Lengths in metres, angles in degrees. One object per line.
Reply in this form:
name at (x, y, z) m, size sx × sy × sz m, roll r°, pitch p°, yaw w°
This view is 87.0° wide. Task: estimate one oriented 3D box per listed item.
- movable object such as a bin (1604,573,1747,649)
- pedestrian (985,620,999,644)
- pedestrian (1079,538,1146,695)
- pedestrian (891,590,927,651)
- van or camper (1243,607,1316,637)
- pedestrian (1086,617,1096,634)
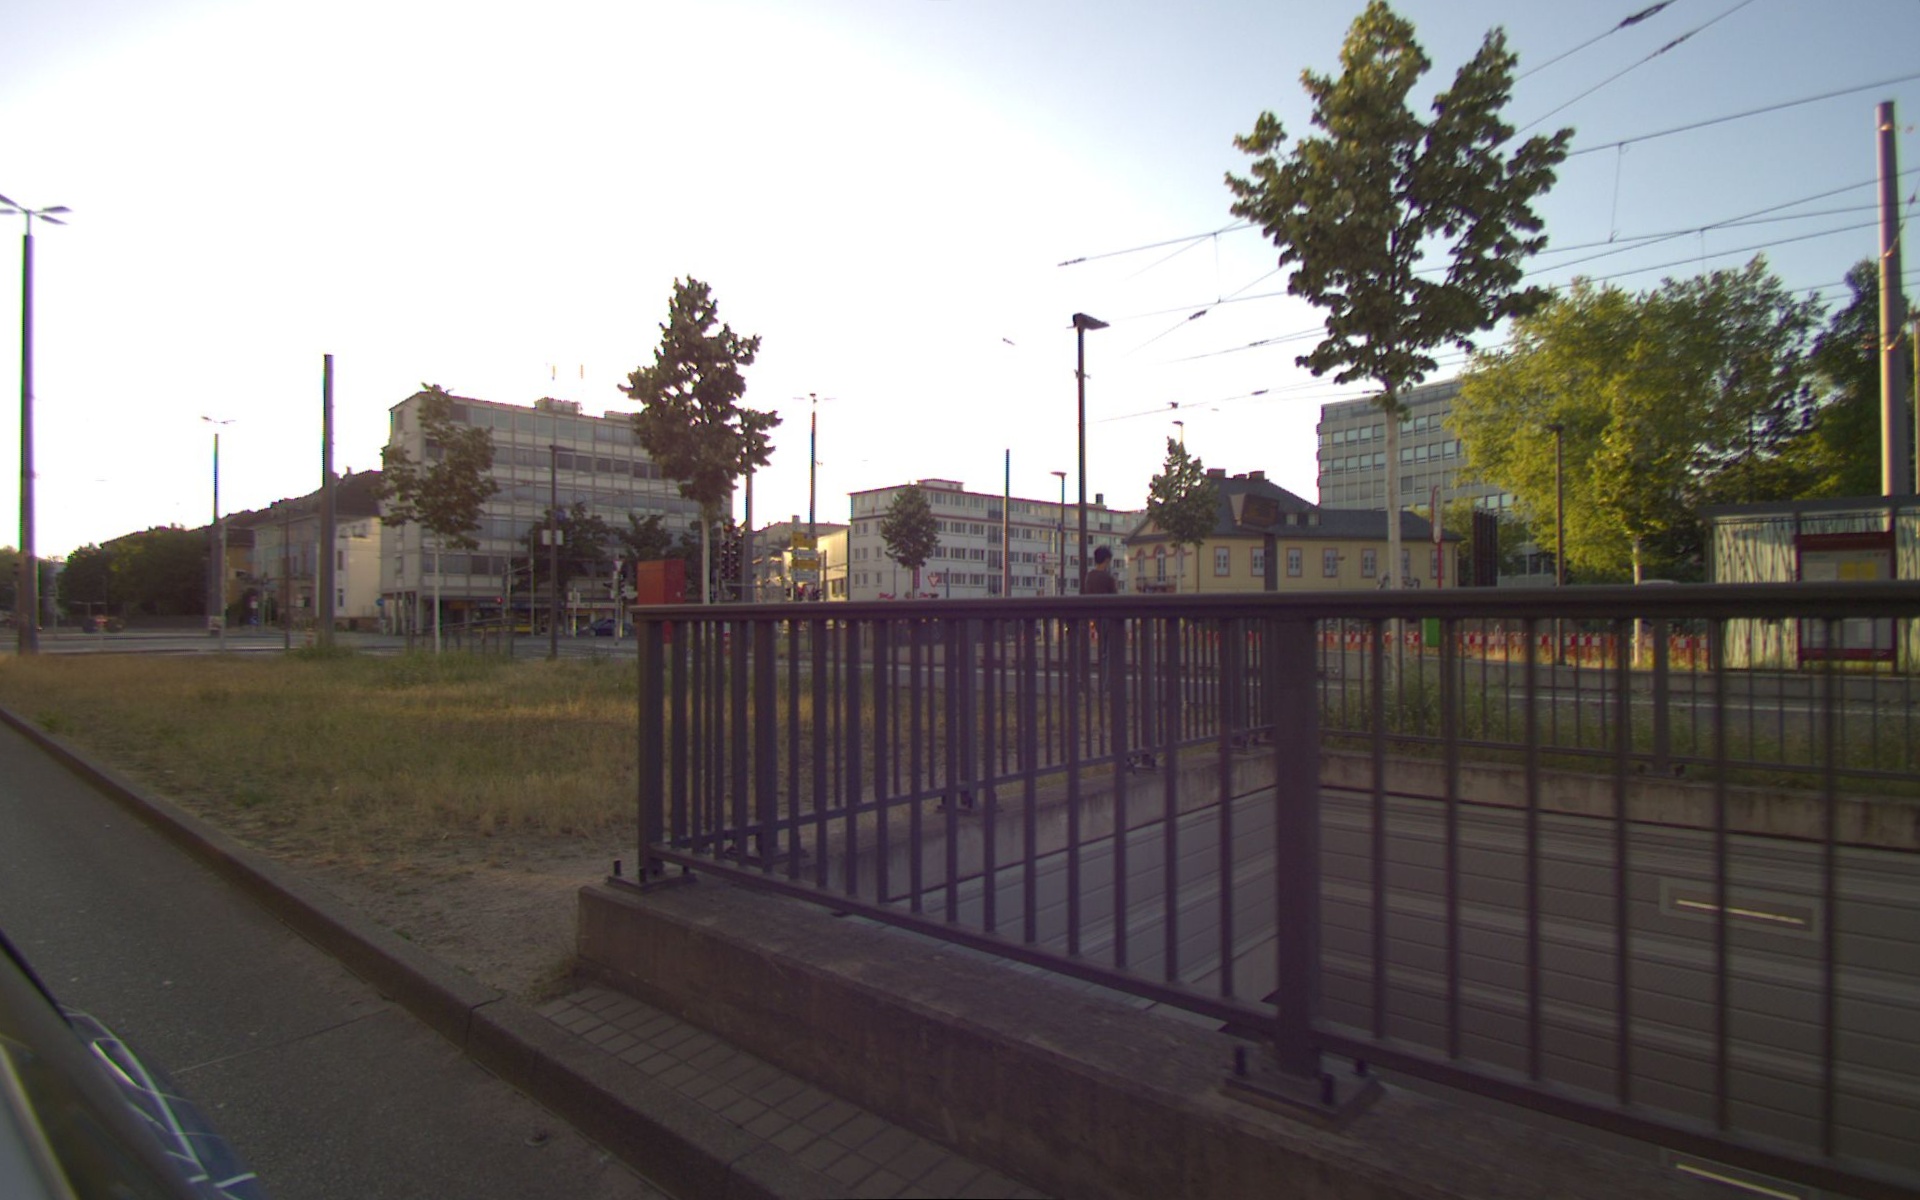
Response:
movable object such as a bin at (27.299, 0.430, 38.714) m, size 1.967 × 2.727 × 4.010 m, roll 0°, pitch -1°, yaw -35°
pedestrian at (2.004, 2.042, 63.923) m, size 0.645 × 1.521 × 0.591 m, roll 3°, pitch -3°, yaw -44°
pedestrian at (1.816, 0.195, 12.054) m, size 0.465 × 1.800 × 0.627 m, roll 1°, pitch -1°, yaw -41°
pedestrian at (-1.531, 0.612, 30.304) m, size 0.817 × 1.812 × 0.686 m, roll -1°, pitch -1°, yaw 44°
van or camper at (25.307, 1.715, 80.218) m, size 5.037 × 2.319 × 2.003 m, roll 0°, pitch -2°, yaw -6°
pedestrian at (12.187, 2.371, 94.197) m, size 0.645 × 1.521 × 0.591 m, roll 3°, pitch -3°, yaw -42°
